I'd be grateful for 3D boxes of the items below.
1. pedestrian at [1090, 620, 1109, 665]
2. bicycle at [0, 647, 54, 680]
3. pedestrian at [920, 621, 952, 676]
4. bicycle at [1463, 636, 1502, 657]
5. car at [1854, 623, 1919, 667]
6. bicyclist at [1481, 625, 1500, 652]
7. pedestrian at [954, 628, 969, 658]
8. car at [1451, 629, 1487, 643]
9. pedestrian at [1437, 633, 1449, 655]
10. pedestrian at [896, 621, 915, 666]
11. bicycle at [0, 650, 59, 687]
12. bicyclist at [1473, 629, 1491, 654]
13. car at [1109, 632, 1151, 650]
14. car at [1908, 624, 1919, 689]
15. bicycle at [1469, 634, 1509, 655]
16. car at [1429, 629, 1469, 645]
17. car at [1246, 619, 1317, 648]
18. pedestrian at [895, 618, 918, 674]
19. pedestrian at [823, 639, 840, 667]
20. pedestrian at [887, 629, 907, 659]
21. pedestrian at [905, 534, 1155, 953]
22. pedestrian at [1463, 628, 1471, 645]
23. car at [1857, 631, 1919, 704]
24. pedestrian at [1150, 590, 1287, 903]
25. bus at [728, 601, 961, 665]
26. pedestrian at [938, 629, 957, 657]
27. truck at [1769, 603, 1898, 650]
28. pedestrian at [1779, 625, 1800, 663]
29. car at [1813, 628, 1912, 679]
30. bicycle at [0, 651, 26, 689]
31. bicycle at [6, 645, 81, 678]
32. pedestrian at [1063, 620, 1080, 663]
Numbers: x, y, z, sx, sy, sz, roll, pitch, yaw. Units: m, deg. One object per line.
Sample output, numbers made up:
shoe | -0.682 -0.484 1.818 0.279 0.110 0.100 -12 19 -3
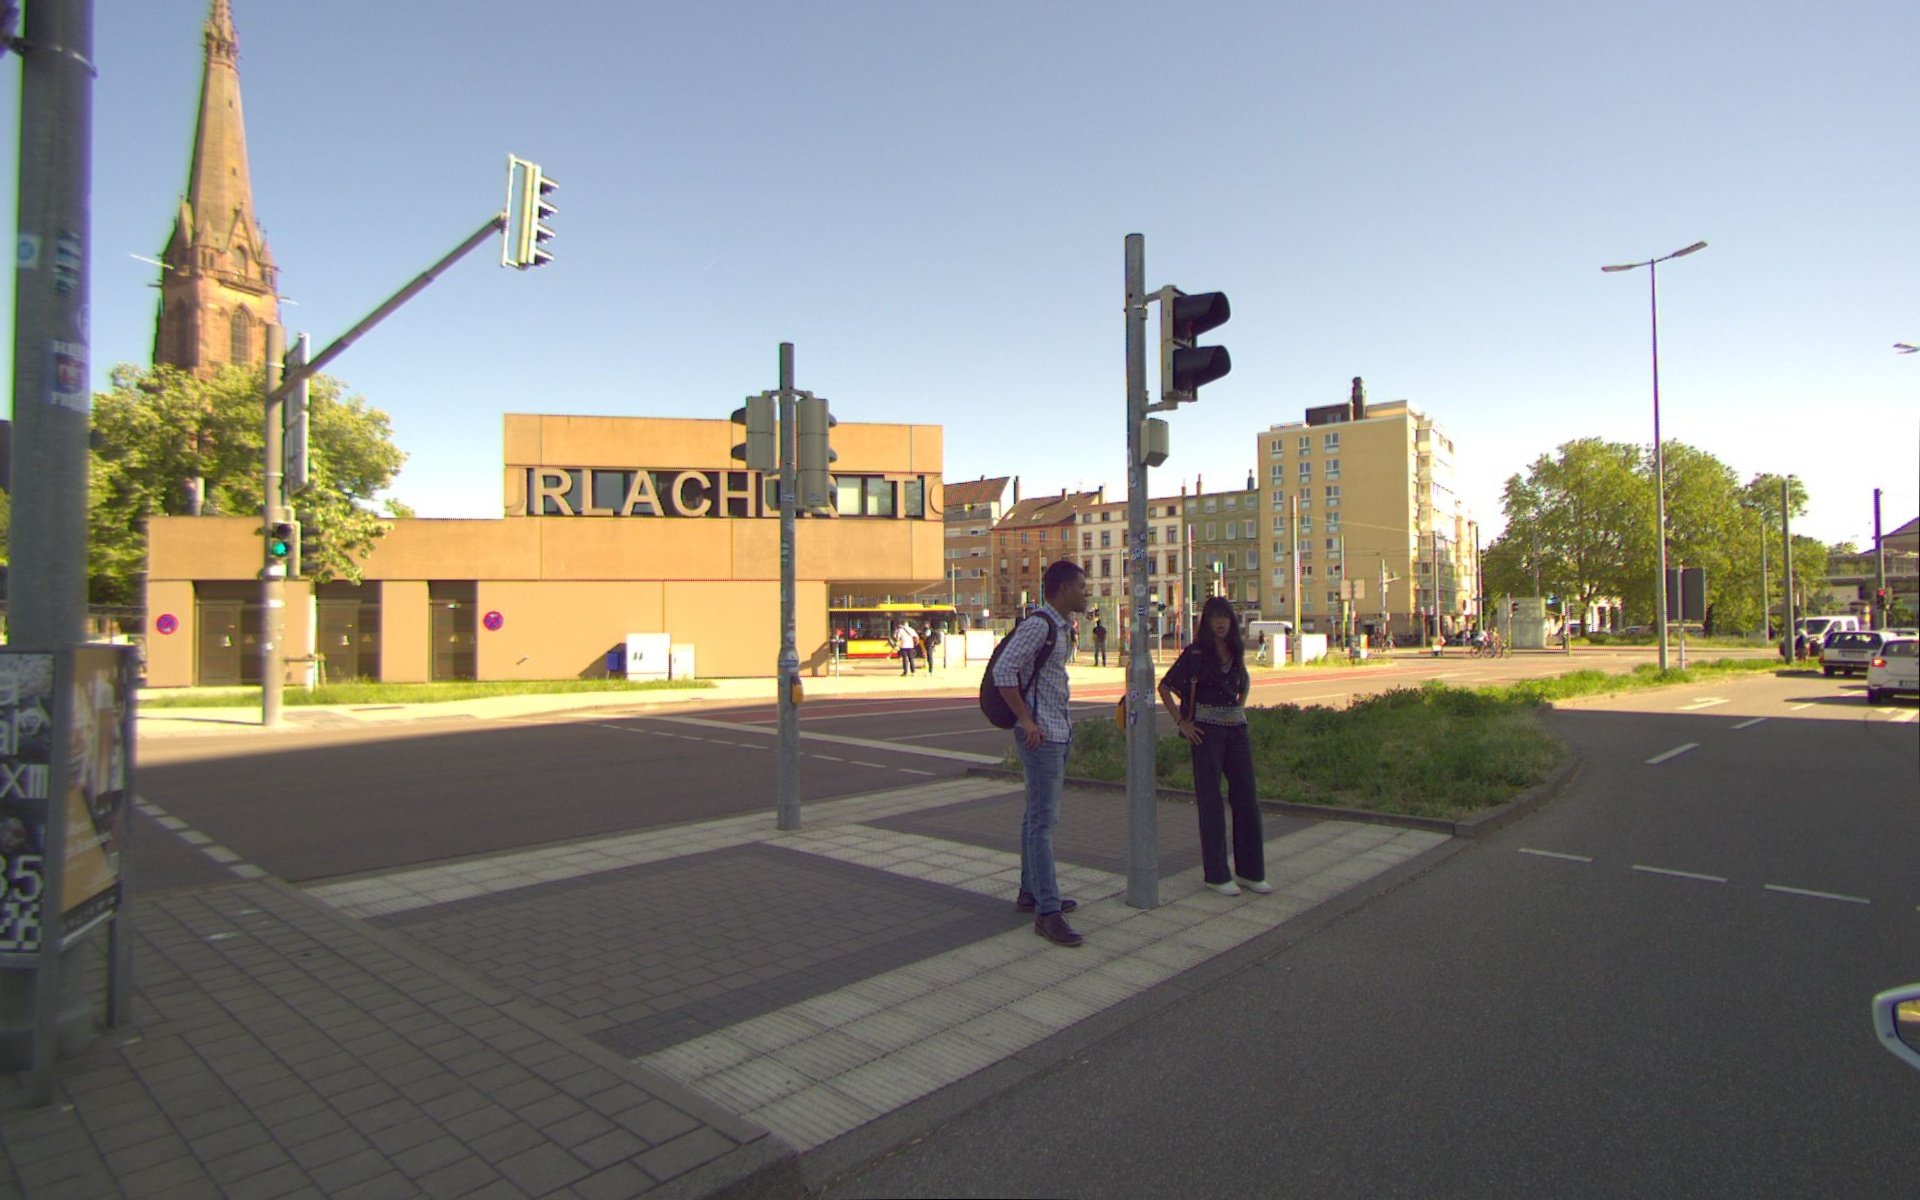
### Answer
pedestrian | 5.593 1.693 40.308 0.634 1.765 0.790 2 0 4
bicycle | -30.094 2.024 31.989 1.757 1.051 0.567 1 -3 -12
pedestrian | -0.770 1.560 32.439 0.742 1.745 0.637 3 -3 -36
bicycle | 30.411 2.720 58.520 0.637 1.180 1.936 1 -2 -38
car | 34.274 1.599 36.483 3.867 1.462 1.715 1 0 -33
bicyclist | 30.147 2.183 57.076 0.637 1.463 0.768 1 -2 -37
pedestrian | 0.085 2.272 53.397 0.629 1.555 0.962 0 -1 -12
car | 52.583 3.699 103.802 3.218 1.334 1.521 -1 0 34
pedestrian | 31.609 2.877 65.689 0.586 1.427 0.566 -1 1 37
pedestrian | -2.153 1.724 39.535 0.635 1.745 0.789 2 -2 -8
bicycle | -27.084 1.956 28.870 1.754 1.051 0.568 0 -3 -4
bicyclist | 30.418 2.409 58.507 0.638 1.463 0.768 1 -2 -39
car | 17.927 4.313 106.055 3.938 1.795 1.992 -1 0 38
car | 26.289 1.466 26.160 4.344 1.645 1.966 1 -1 -41
bicycle | 30.086 2.519 57.151 0.637 1.180 1.936 1 -2 -38
car | 48.951 3.692 100.574 3.386 1.530 1.688 -1 -2 34
car | 27.306 2.848 85.307 5.416 2.443 1.993 -1 -2 37
pedestrian | -1.671 1.455 31.696 0.584 1.745 0.791 2 -2 4
pedestrian | -4.732 1.954 37.058 0.563 0.978 0.509 2 -2 -3
pedestrian | -3.306 2.328 52.792 0.793 1.555 0.633 1 -2 -39
pedestrian | 0.374 0.641 4.978 1.074 1.857 0.756 0 -1 18
pedestrian | 48.835 3.521 96.802 0.597 1.632 0.798 -1 1 30
car | 20.715 1.416 21.651 3.709 1.455 1.675 2 -1 -42
pedestrian | 1.463 0.777 5.688 0.705 1.633 0.682 0 -1 16
bus | -6.269 1.771 54.985 12.359 3.258 2.970 0 -1 -9
pedestrian | -0.625 2.218 52.047 0.785 1.412 0.639 -1 -2 26
truck | 45.600 1.396 52.423 6.783 2.344 2.210 1 -2 -22
pedestrian | 36.467 1.921 44.158 0.562 1.632 0.568 -1 1 26
car | 28.664 1.642 31.880 3.765 1.462 1.712 1 0 -38
bicycle | -26.996 1.925 27.686 1.757 1.051 0.567 1 -3 -12
bicycle | -30.428 2.038 33.360 1.757 1.051 0.567 1 -3 -12
pedestrian | 4.655 1.727 42.009 0.634 1.745 0.791 2 -2 4
